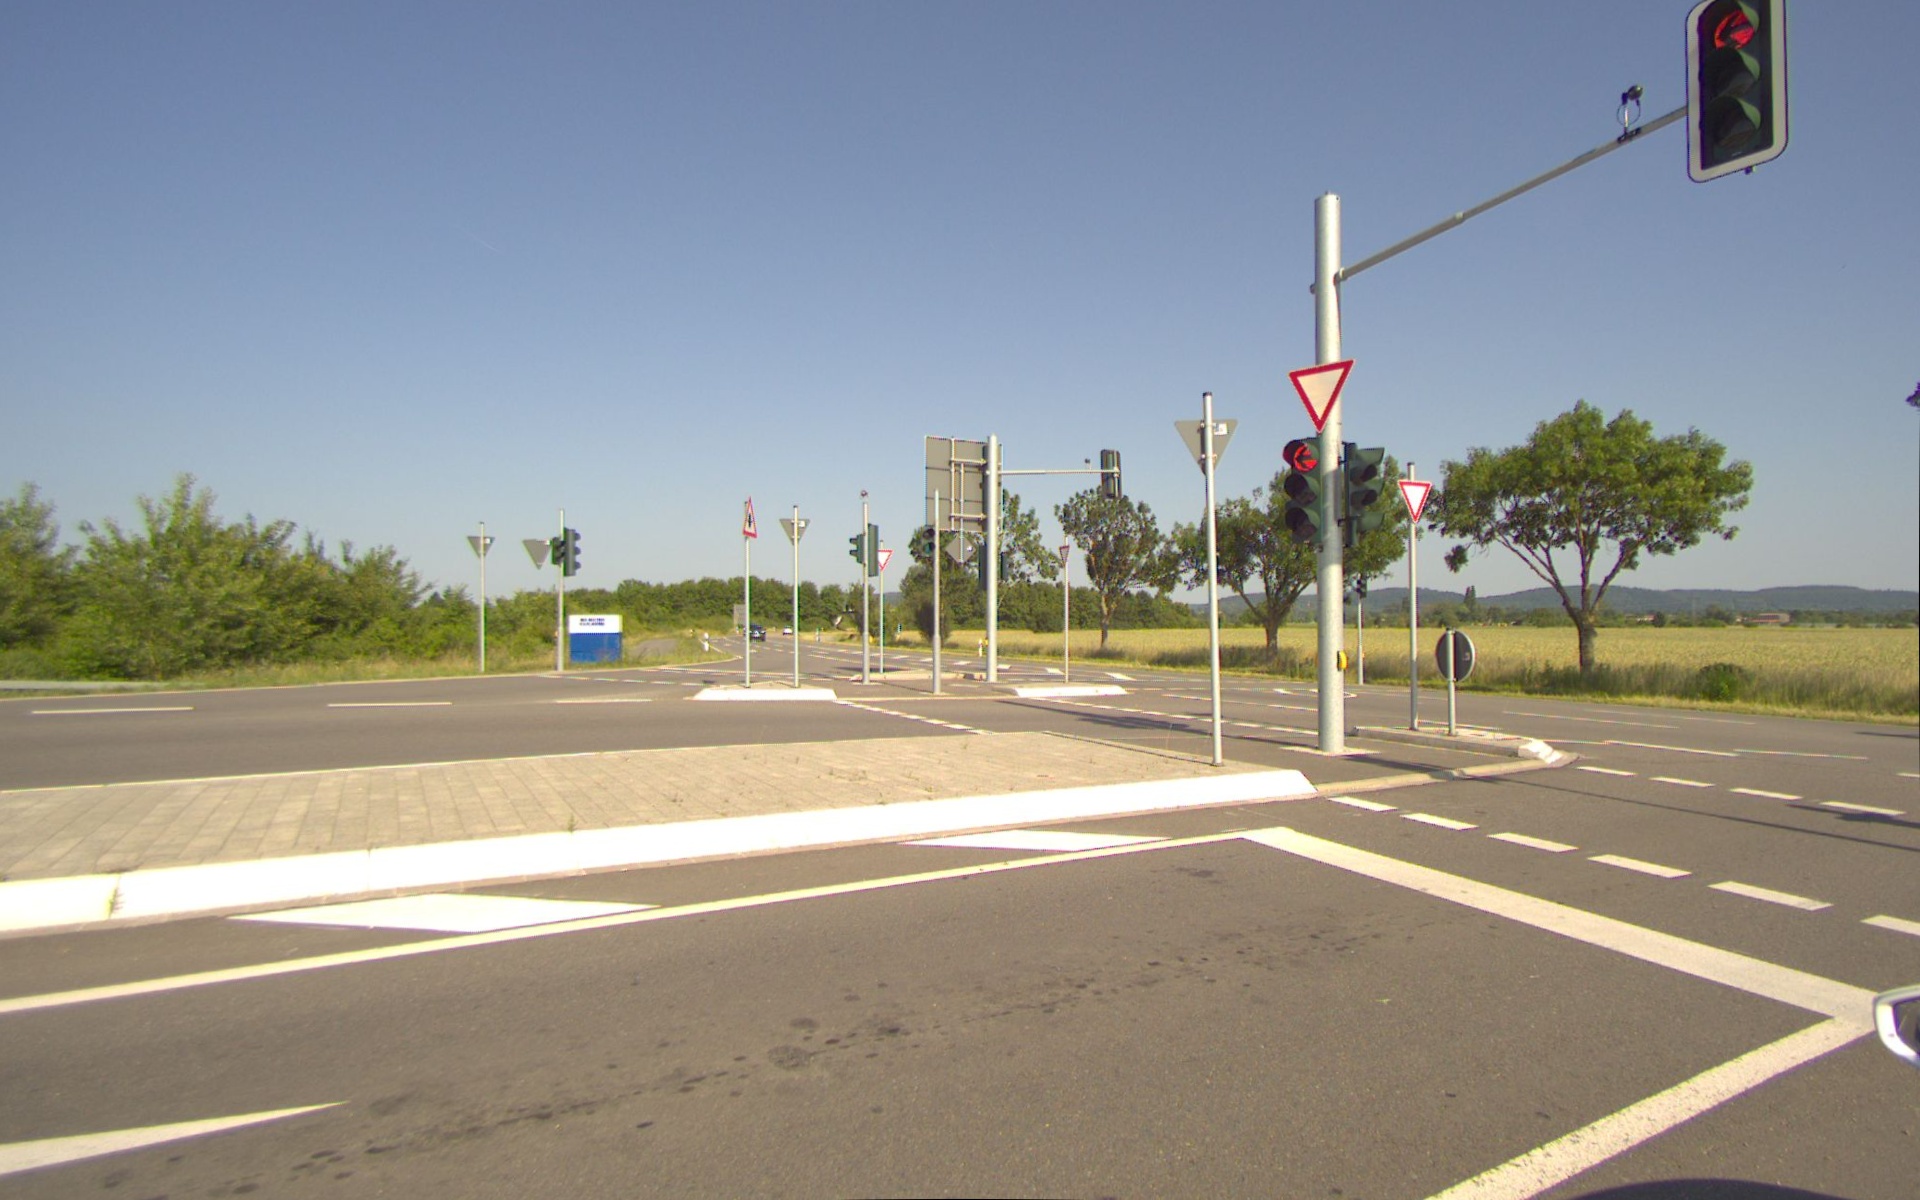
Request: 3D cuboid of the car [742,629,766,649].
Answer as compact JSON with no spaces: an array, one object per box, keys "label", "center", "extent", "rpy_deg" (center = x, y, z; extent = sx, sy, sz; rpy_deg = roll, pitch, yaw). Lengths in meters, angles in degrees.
[{"label":"car","center":[-20.464,3.809,99.661],"extent":[1.967,1.746,4.603],"rpy_deg":[2,0,-16]}]
